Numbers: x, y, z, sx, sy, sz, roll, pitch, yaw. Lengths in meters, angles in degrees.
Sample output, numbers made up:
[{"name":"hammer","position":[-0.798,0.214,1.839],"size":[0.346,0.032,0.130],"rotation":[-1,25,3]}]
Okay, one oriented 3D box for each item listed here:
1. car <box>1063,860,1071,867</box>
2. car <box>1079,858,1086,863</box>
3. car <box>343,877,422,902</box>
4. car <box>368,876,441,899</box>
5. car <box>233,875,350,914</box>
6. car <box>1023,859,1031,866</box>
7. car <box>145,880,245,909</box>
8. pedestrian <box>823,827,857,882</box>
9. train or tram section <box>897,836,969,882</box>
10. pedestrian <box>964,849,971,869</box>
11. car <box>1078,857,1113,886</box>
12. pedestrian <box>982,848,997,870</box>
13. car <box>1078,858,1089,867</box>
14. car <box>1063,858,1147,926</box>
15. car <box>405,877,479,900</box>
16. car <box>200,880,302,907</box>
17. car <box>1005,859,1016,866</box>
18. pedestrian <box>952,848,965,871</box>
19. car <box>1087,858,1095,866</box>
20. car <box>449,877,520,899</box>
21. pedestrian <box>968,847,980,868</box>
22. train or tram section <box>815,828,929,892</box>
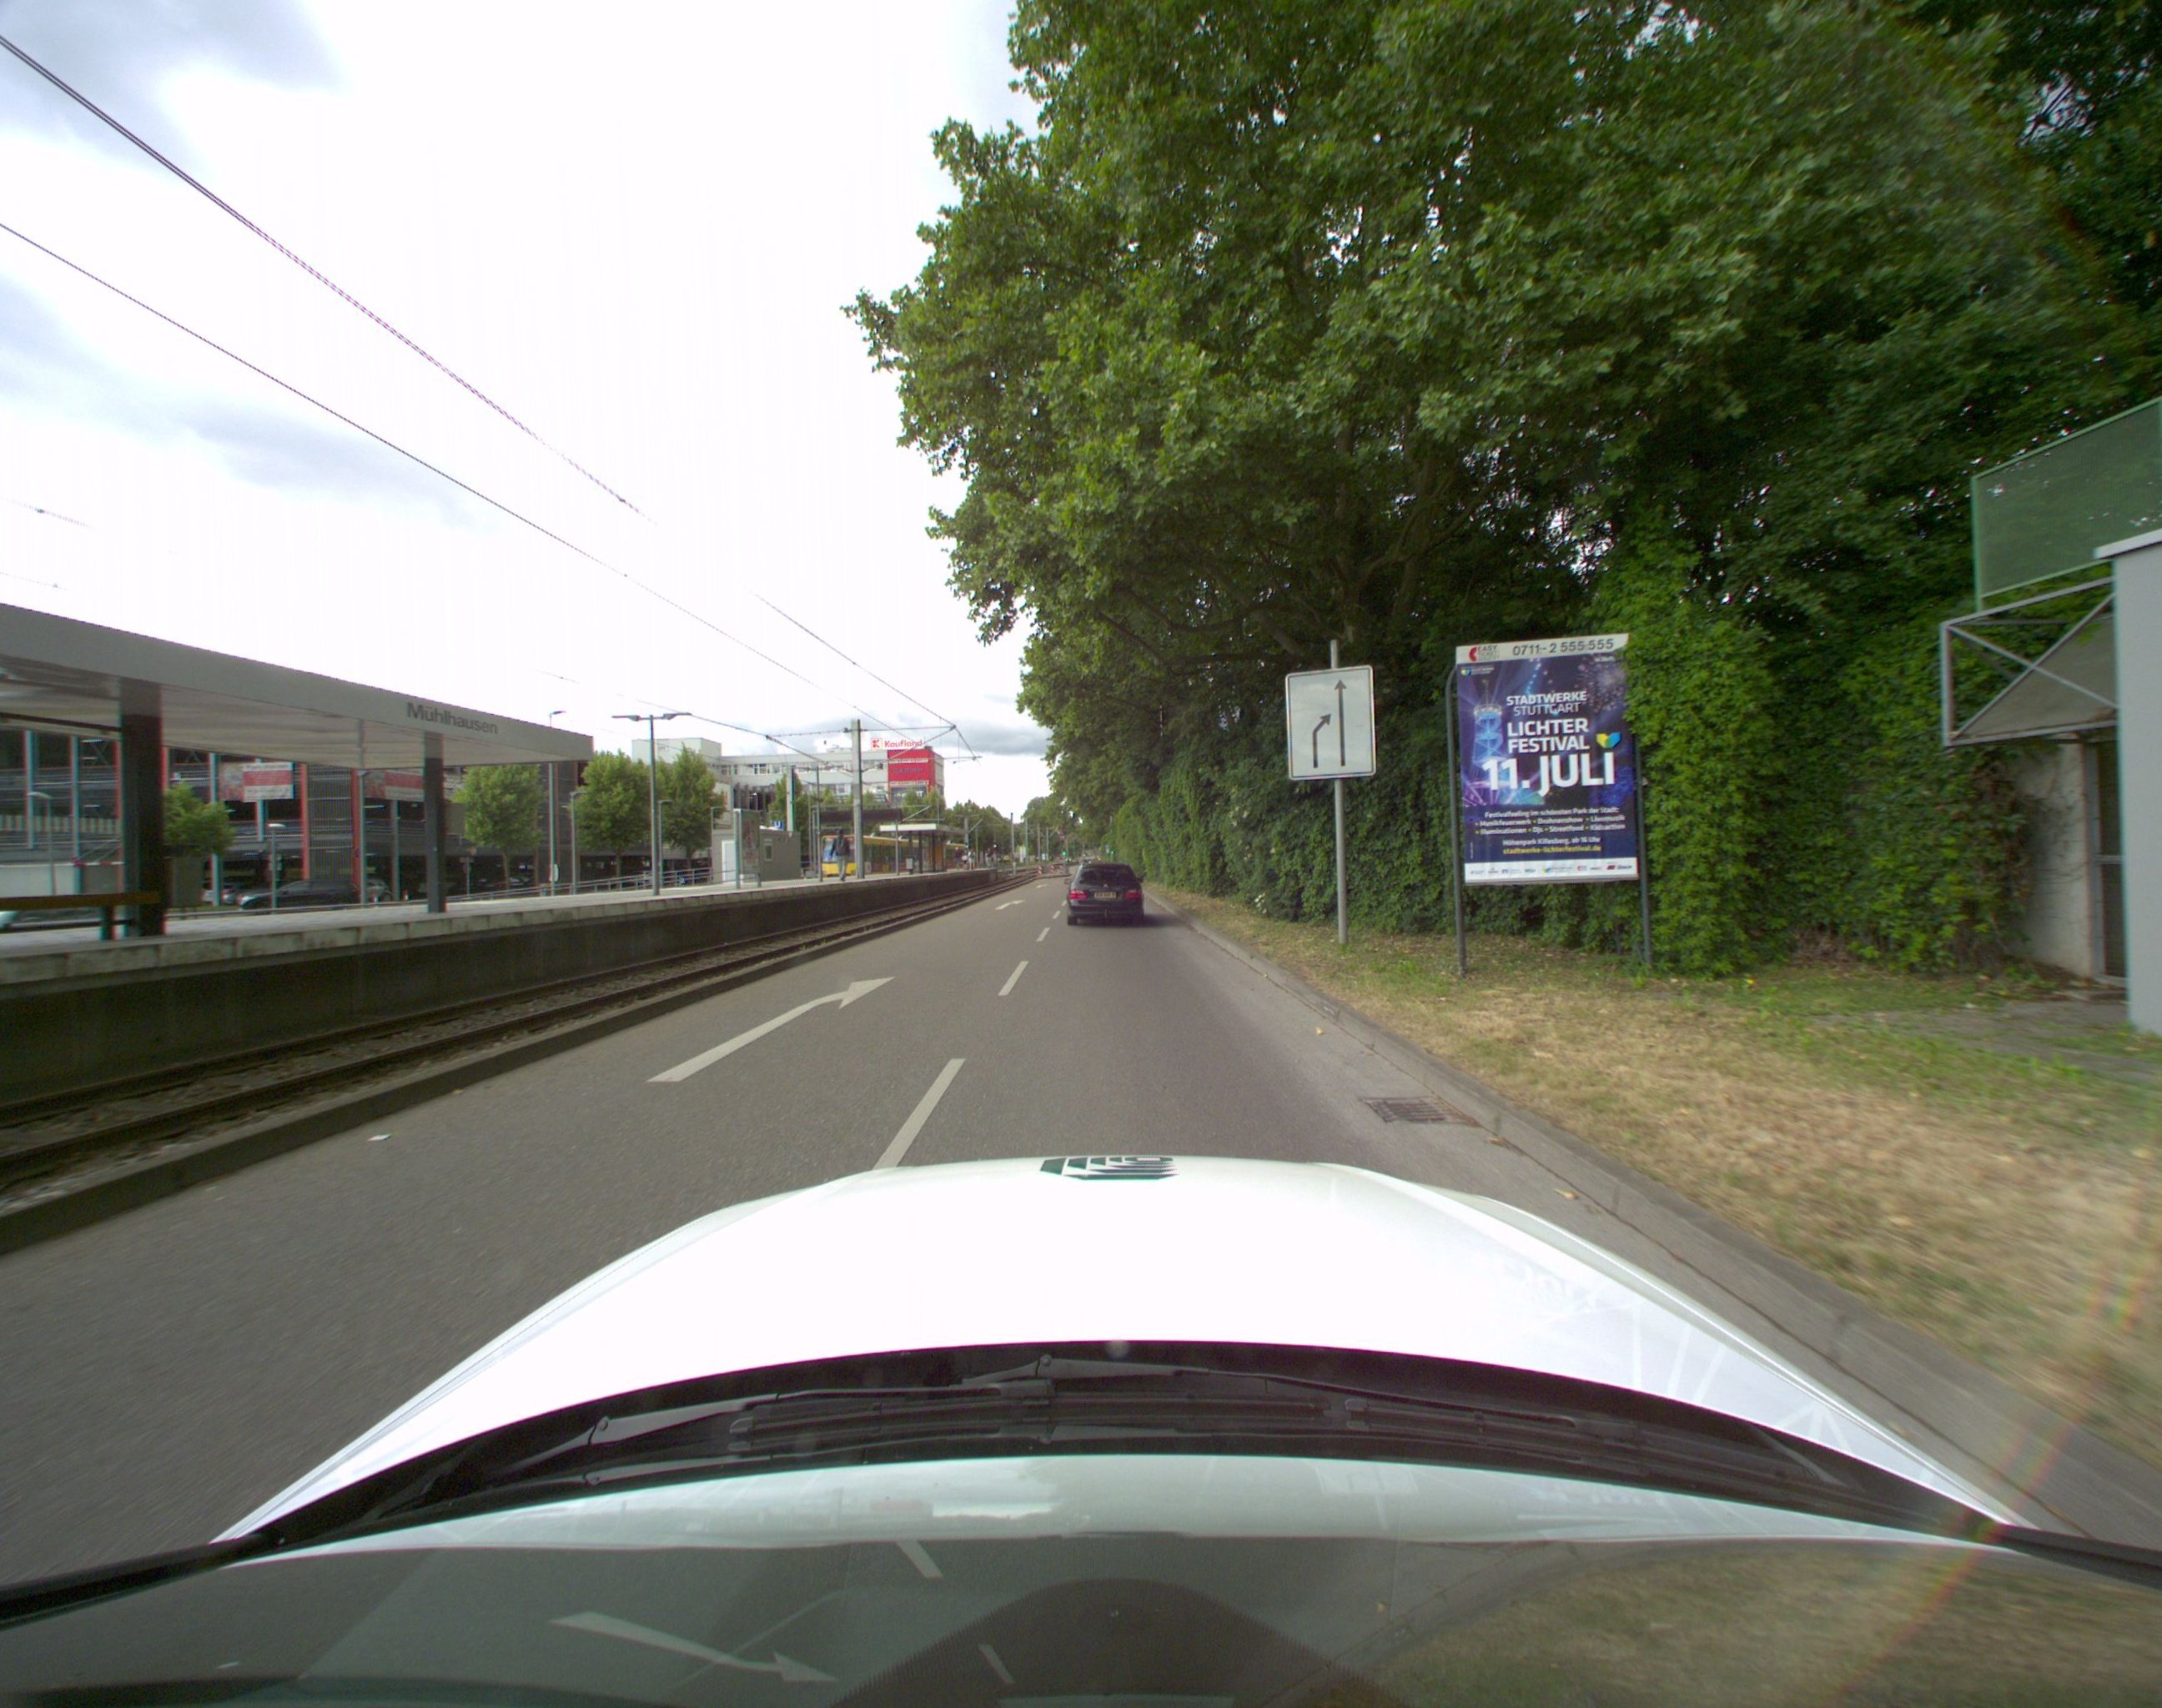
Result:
[{"name":"car","position":[-3.318,2.232,193.658],"size":[1.818,1.530,3.930],"rotation":[-1,0,2]},{"name":"car","position":[0.521,1.939,237.767],"size":[1.818,1.530,3.988],"rotation":[-1,0,2]},{"name":"car","position":[-41.061,2.050,47.976],"size":[1.528,1.310,3.544],"rotation":[-2,0,2]},{"name":"car","position":[-48.242,2.388,58.185],"size":[1.816,1.457,4.000],"rotation":[-2,-1,1]},{"name":"car","position":[-38.888,1.940,40.223],"size":[1.628,1.706,3.828],"rotation":[-2,0,16]},{"name":"car","position":[-16.535,2.618,248.619],"size":[1.987,2.013,4.000],"rotation":[-3,-1,0]},{"name":"car","position":[-50.802,2.280,46.802],"size":[1.710,1.415,3.561],"rotation":[-3,-1,2]},{"name":"pedestrian","position":[-7.965,0.023,26.994],"size":[0.746,1.744,0.937],"rotation":[-3,-1,1]},{"name":"train or tram section","position":[-14.037,0.587,79.407],"size":[2.745,3.829,18.641],"rotation":[-2,-1,3]},{"name":"pedestrian","position":[-8.443,0.380,60.671],"size":[0.475,1.483,0.541],"rotation":[-3,-1,-9]},{"name":"car","position":[0.806,0.979,46.635],"size":[1.819,1.530,4.415],"rotation":[-2,0,0]},{"name":"pedestrian","position":[-7.448,0.417,66.390],"size":[0.736,1.678,0.881],"rotation":[-4,-1,44]},{"name":"car","position":[0.481,1.659,157.531],"size":[1.818,1.530,4.418],"rotation":[-2,0,2]},{"name":"car","position":[0.578,0.860,20.122],"size":[1.826,1.478,4.417],"rotation":[-1,-1,1]},{"name":"car","position":[-45.822,2.455,58.503],"size":[1.986,1.473,4.001],"rotation":[-3,-1,2]},{"name":"car","position":[-47.806,2.230,47.010],"size":[1.843,1.310,3.801],"rotation":[-3,-1,2]},{"name":"car","position":[-18.789,2.375,217.636],"size":[1.984,1.743,4.994],"rotation":[-2,0,5]},{"name":"pedestrian","position":[-9.212,0.387,61.147],"size":[0.768,1.678,0.791],"rotation":[-3,-1,0]},{"name":"car","position":[2.247,1.764,180.968],"size":[1.818,1.530,3.930],"rotation":[-1,0,2]},{"name":"car","position":[-42.794,2.407,58.512],"size":[1.986,1.310,4.001],"rotation":[-3,-1,2]},{"name":"pedestrian","position":[-7.887,0.278,59.999],"size":[0.514,1.482,0.585],"rotation":[-4,-1,39]},{"name":"train or tram section","position":[-14.925,0.424,60.710],"size":[2.745,3.883,18.643],"rotation":[-3,0,3]}]
